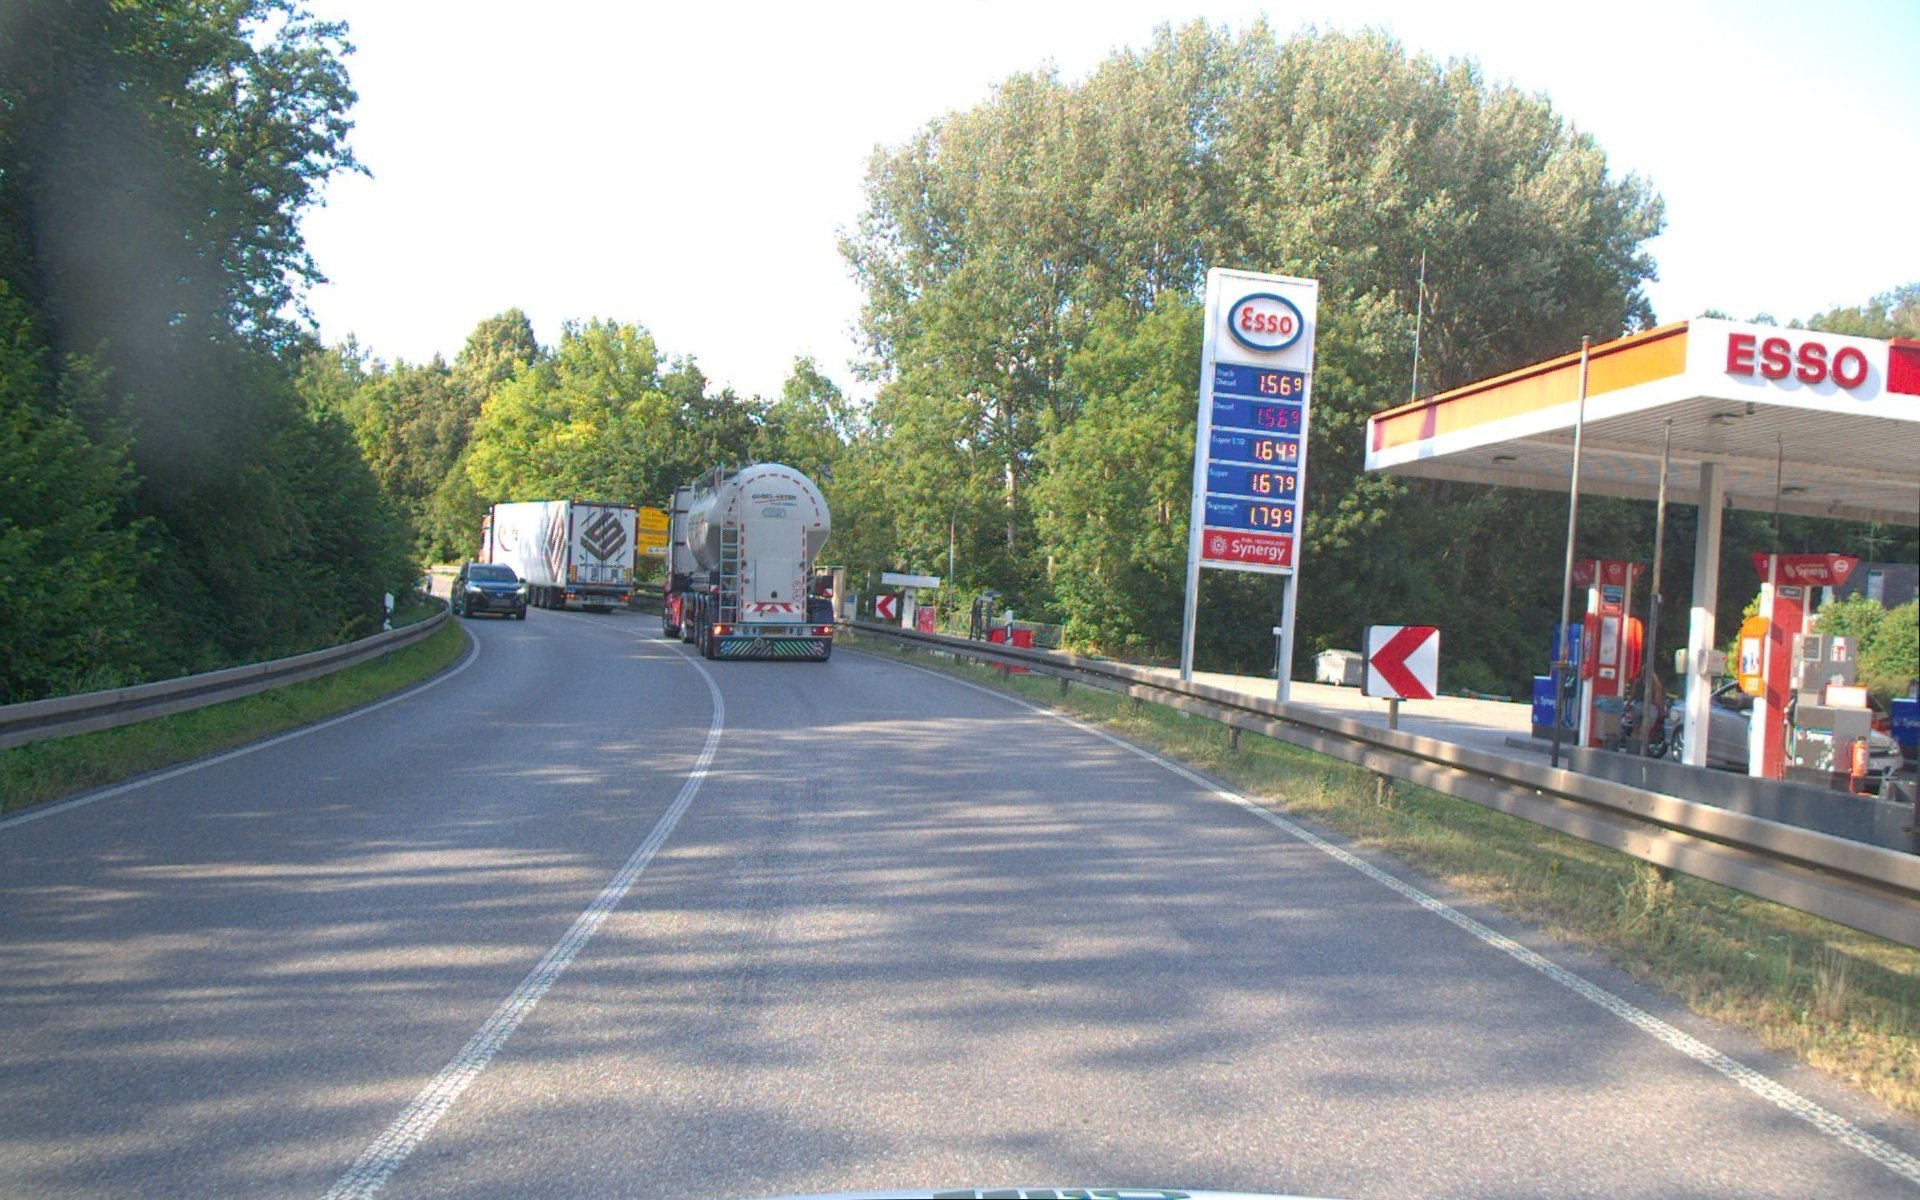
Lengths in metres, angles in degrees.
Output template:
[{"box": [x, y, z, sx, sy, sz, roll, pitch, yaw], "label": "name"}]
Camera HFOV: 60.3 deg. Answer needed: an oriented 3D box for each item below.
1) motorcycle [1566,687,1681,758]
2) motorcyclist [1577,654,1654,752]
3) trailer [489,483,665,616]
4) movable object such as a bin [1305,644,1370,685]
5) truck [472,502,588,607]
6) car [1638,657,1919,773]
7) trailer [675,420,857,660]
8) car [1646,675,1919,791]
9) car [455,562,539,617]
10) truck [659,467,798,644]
[{"box": [11.617, 2.126, 29.069, 0.747, 1.029, 2.336, 3, 0, -9], "label": "motorcycle"}, {"box": [11.608, 1.813, 29.310, 0.842, 1.632, 0.926, 4, 0, -9], "label": "motorcyclist"}, {"box": [-15.438, -1.978, 65.608, 3.505, 4.591, 12.868, 3, 0, -28], "label": "trailer"}, {"box": [15.540, 2.636, 68.127, 1.249, 1.444, 2.540, 7, -1, -22], "label": "movable object such as a bin"}, {"box": [-18.829, -1.966, 72.098, 3.410, 4.157, 6.434, 3, 0, -27], "label": "truck"}, {"box": [15.008, 2.051, 30.679, 2.054, 1.656, 5.169, 3, 0, -9], "label": "car"}, {"box": [-4.525, -1.206, 36.585, 2.837, 4.532, 9.574, 2, 0, -13], "label": "trailer"}, {"box": [12.725, 2.000, 25.708, 1.808, 1.342, 4.382, 3, 0, -8], "label": "car"}, {"box": [-14.884, -0.367, 53.020, 1.845, 1.682, 4.512, 0, 1, -26], "label": "car"}, {"box": [-6.001, -1.088, 42.162, 2.777, 4.105, 5.872, 1, 0, -15], "label": "truck"}]
